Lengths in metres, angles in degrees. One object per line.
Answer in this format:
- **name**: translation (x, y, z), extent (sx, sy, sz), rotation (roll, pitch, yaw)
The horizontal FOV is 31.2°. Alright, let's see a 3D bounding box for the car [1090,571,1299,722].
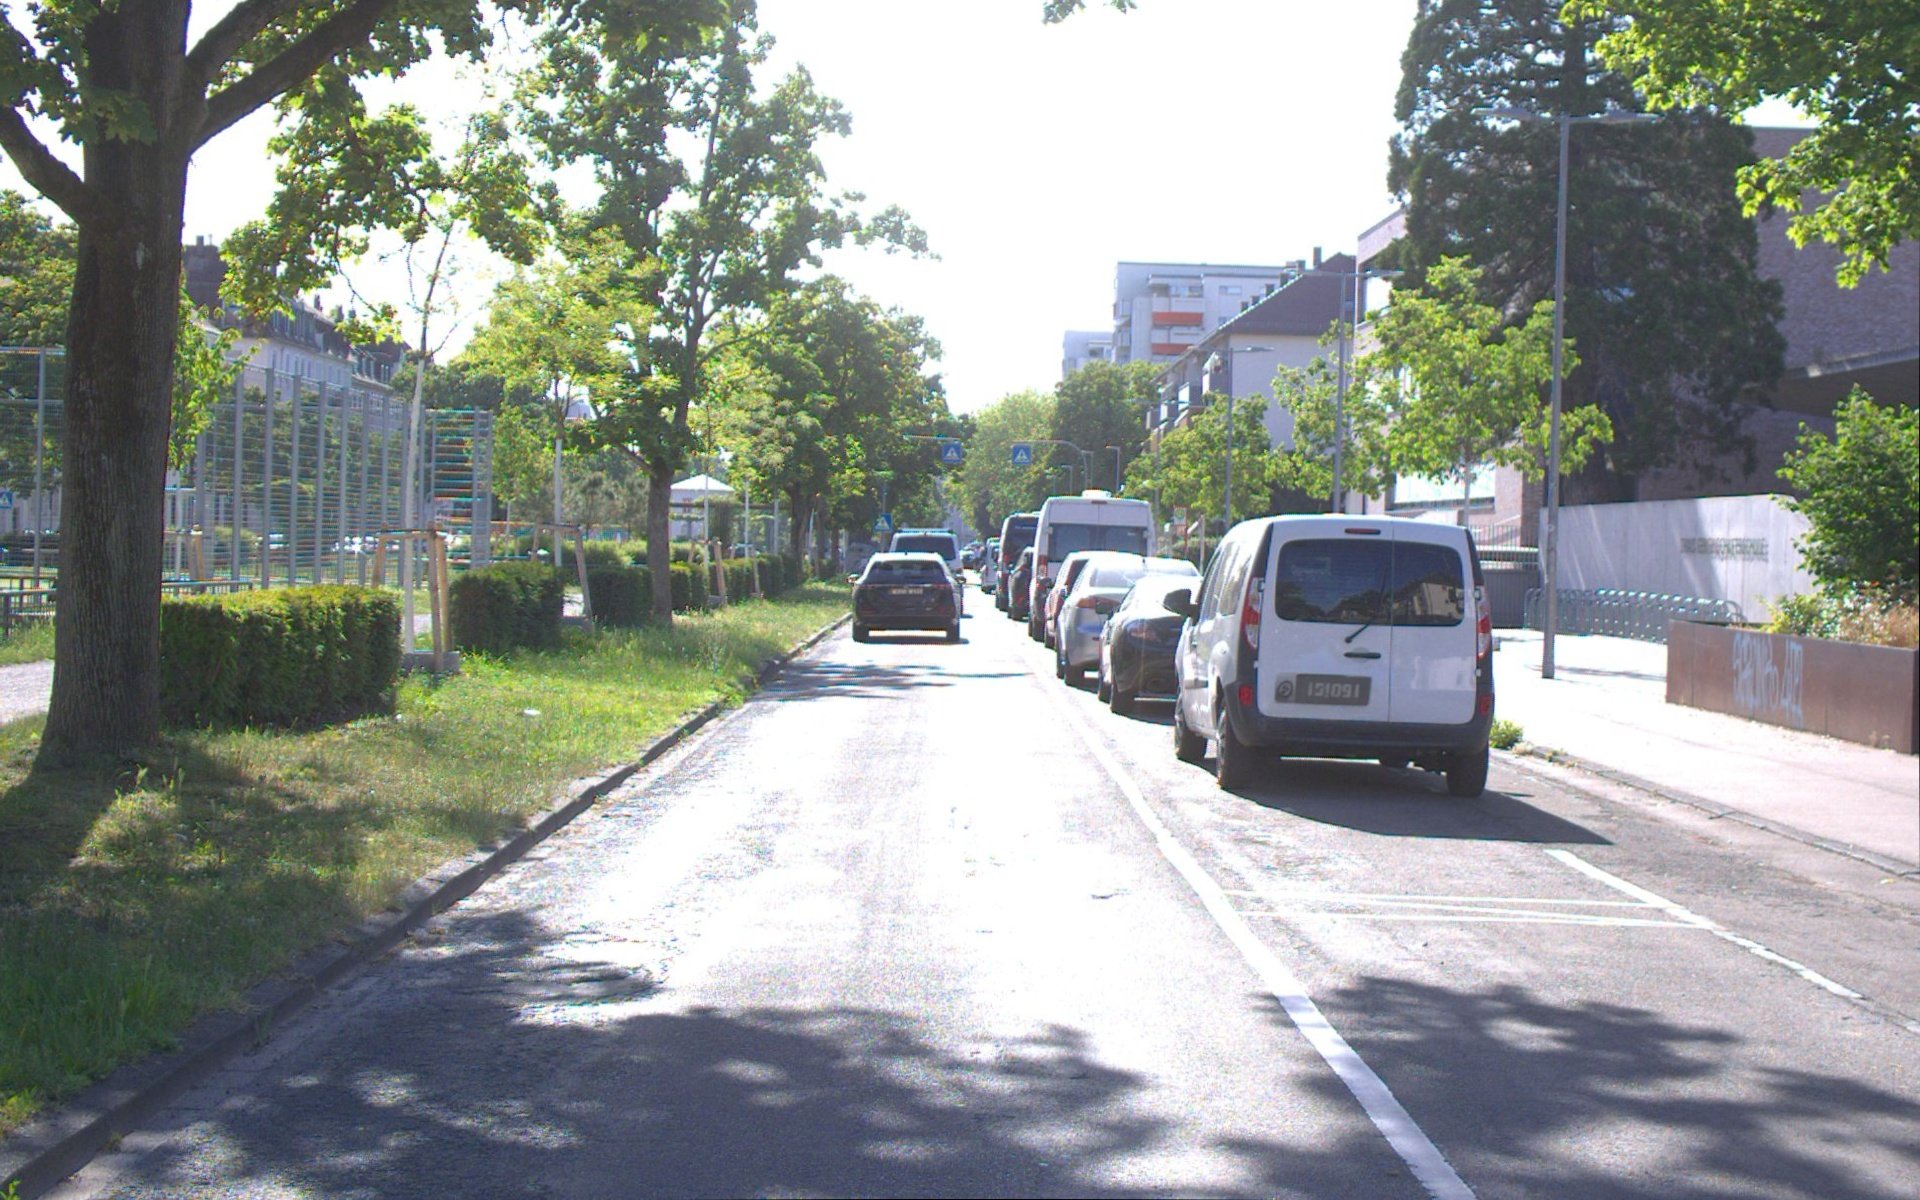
- **car**: translation (2.260, 0.414, 34.089), extent (1.701, 1.321, 4.130), rotation (2, 1, -1)

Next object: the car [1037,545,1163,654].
- **car**: translation (2.134, -0.034, 53.211), extent (1.619, 1.583, 3.592), rotation (2, 1, -2)

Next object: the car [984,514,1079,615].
- **car**: translation (1.840, -0.928, 90.367), extent (2.115, 2.507, 6.532), rotation (1, 1, -2)

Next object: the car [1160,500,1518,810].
- **car**: translation (2.532, 0.316, 24.034), extent (1.808, 1.902, 4.462), rotation (2, 1, -2)

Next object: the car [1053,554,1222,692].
- **car**: translation (2.028, 0.233, 40.275), extent (1.701, 1.473, 4.173), rotation (2, 1, 0)

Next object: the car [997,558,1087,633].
- **car**: translation (1.835, -0.124, 78.150), extent (1.846, 1.634, 4.504), rotation (1, 1, -1)

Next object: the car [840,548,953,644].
- **car**: translation (-1.042, -0.092, 58.077), extent (1.794, 1.505, 4.000), rotation (2, 1, 0)

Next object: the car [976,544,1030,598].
- **car**: translation (1.569, -1.060, 123.948), extent (1.794, 1.849, 4.413), rotation (2, 1, 2)

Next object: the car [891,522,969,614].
- **car**: translation (-0.701, -0.775, 82.922), extent (1.794, 2.115, 4.000), rotation (2, 1, 0)

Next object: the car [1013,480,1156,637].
- **car**: translation (2.153, -0.735, 60.819), extent (2.241, 2.565, 5.432), rotation (2, 1, 0)
